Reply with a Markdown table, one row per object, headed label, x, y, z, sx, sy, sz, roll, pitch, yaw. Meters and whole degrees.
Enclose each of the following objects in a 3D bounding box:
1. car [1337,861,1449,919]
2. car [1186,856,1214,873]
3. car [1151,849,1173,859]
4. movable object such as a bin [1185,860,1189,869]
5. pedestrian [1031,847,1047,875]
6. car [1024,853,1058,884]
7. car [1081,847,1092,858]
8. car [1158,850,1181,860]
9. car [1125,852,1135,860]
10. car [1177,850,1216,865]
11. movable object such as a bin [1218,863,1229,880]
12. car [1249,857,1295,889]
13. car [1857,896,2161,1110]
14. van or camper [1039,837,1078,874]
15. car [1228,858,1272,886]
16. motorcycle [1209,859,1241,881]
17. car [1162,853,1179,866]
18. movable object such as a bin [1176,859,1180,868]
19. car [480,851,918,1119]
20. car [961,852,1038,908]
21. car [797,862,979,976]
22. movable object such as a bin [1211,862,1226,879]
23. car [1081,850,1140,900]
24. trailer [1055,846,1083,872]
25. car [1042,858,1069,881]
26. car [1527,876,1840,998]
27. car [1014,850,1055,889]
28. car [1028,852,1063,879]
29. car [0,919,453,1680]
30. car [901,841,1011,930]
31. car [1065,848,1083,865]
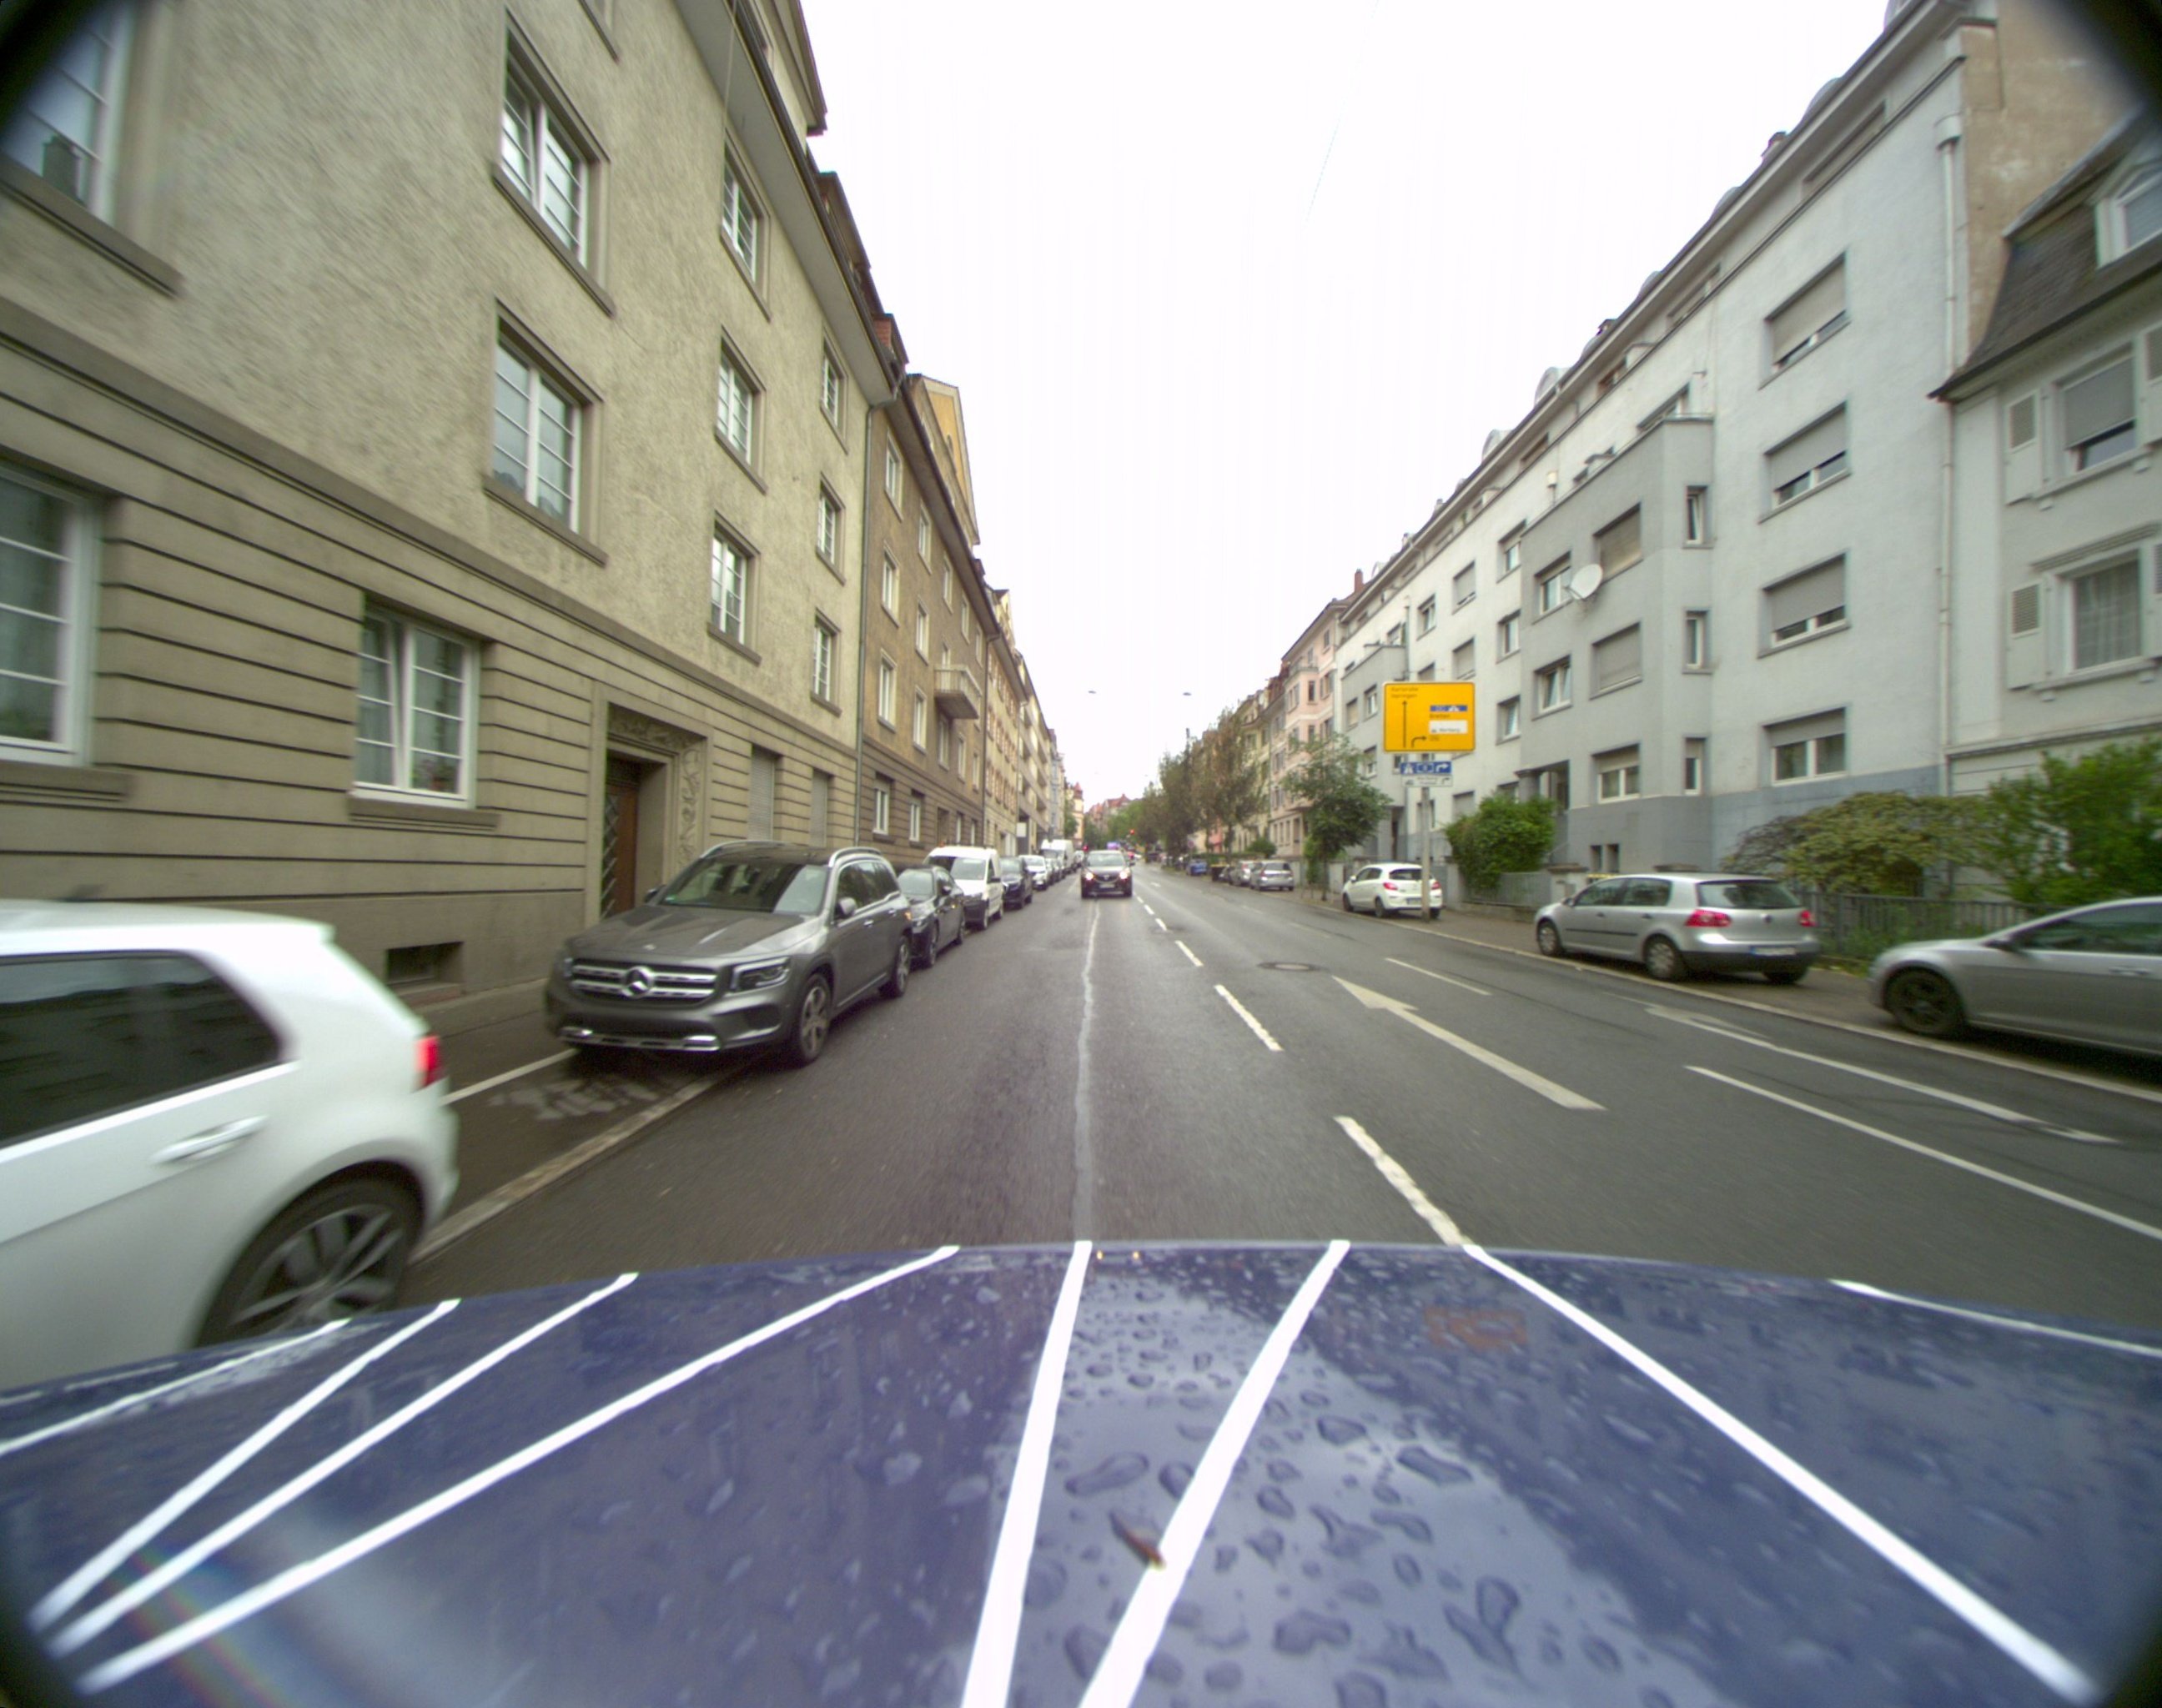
| label | x | y | z | sx | sy | sz | roll | pitch | yaw |
| --- | --- | --- | --- | --- | --- | --- | --- | --- | --- |
| car | 8.858 | 0.963 | 21.896 | 1.650 | 1.499 | 3.796 | 0 | 0 | 0 |
| car | 9.914 | 0.859 | 63.474 | 1.683 | 1.377 | 4.603 | 1 | 0 | 1 |
| car | 15.090 | -0.028 | 141.851 | 3.929 | 1.836 | 1.867 | 1 | 1 | -1 |
| movable object such as a bin | 10.642 | 1.062 | 76.152 | 0.365 | 0.906 | 0.572 | -1 | 2 | 1 |
| pedestrian | -2.721 | 0.449 | 48.928 | 0.688 | 1.777 | 0.711 | 1 | 2 | -36 |
| car | -2.155 | 0.747 | 41.647 | 1.636 | 1.470 | 3.734 | 4 | 1 | -1 |
| car | 0.978 | -0.222 | 128.878 | 1.826 | 1.808 | 4.520 | 2 | 1 | 1 |
| car | 16.261 | 0.156 | 139.503 | 3.928 | 1.613 | 1.592 | 1 | 1 | 2 |
| car | 9.844 | 0.429 | 152.156 | 1.771 | 1.540 | 3.652 | -1 | 1 | 1 |
| car | 14.811 | 0.434 | 97.871 | 4.731 | 1.894 | 1.918 | -1 | 2 | -1 |
| movable object such as a bin | 9.167 | 1.145 | 48.819 | 0.526 | 1.052 | 0.482 | -3 | 2 | -20 |
| car | 9.411 | 0.922 | 37.699 | 1.604 | 1.443 | 3.889 | -1 | 0 | 5 |
| car | 8.591 | 1.136 | 5.649 | 1.687 | 1.382 | 3.936 | 0 | 0 | 2 |
| van or camper | -1.686 | 0.089 | 59.912 | 2.189 | 2.684 | 6.422 | 1 | 0 | 5 |
| car | 9.396 | 0.956 | 42.565 | 1.605 | 1.388 | 3.886 | 0 | 1 | 0 |
| motorcycle | 8.932 | 1.004 | 47.203 | 1.806 | 1.307 | 0.743 | 1 | 1 | 42 |
| car | 10.826 | 0.635 | 92.128 | 1.685 | 1.409 | 4.137 | 2 | 1 | 1 |
| movable object such as a bin | 9.714 | 0.988 | 76.239 | 0.365 | 0.884 | 0.572 | -1 | 1 | 1 |
| car | -2.884 | 0.831 | 6.934 | 1.845 | 1.611 | 4.207 | 2 | 1 | 0 |
| car | -2.456 | 0.736 | 23.912 | 1.795 | 1.539 | 4.226 | 2 | 0 | 2 |
| car | -2.945 | 0.921 | 12.614 | 1.845 | 1.401 | 4.387 | 3 | 0 | 0 |
| movable object such as a bin | 9.067 | 1.063 | 50.110 | 0.827 | 1.052 | 0.483 | -2 | 2 | 2 |
| car | 0.977 | 0.693 | 27.448 | 1.889 | 1.543 | 3.999 | -2 | 1 | -1 |
| trailer | -1.032 | 0.469 | 66.979 | 1.998 | 2.139 | 5.074 | 3 | 0 | 4 |
| car | -1.735 | 1.040 | 51.660 | 1.782 | 1.470 | 4.189 | 1 | 0 | -2 |
| car | 8.630 | 1.091 | 11.403 | 1.687 | 1.382 | 3.909 | 0 | 0 | 2 |
| car | -2.135 | 0.703 | 36.134 | 1.636 | 1.629 | 4.194 | 3 | 1 | 0 |
| car | -2.117 | 0.645 | 46.096 | 1.782 | 1.471 | 4.587 | 1 | 1 | 1 |
| car | -3.112 | 0.981 | 0.667 | 1.733 | 1.421 | 3.973 | 3 | 0 | 1 |
| car | -2.799 | 0.652 | 17.917 | 1.795 | 1.807 | 4.080 | 2 | 0 | 1 |
| car | -0.812 | 0.262 | 90.406 | 1.994 | 1.944 | 4.822 | 2 | 1 | 1 |
